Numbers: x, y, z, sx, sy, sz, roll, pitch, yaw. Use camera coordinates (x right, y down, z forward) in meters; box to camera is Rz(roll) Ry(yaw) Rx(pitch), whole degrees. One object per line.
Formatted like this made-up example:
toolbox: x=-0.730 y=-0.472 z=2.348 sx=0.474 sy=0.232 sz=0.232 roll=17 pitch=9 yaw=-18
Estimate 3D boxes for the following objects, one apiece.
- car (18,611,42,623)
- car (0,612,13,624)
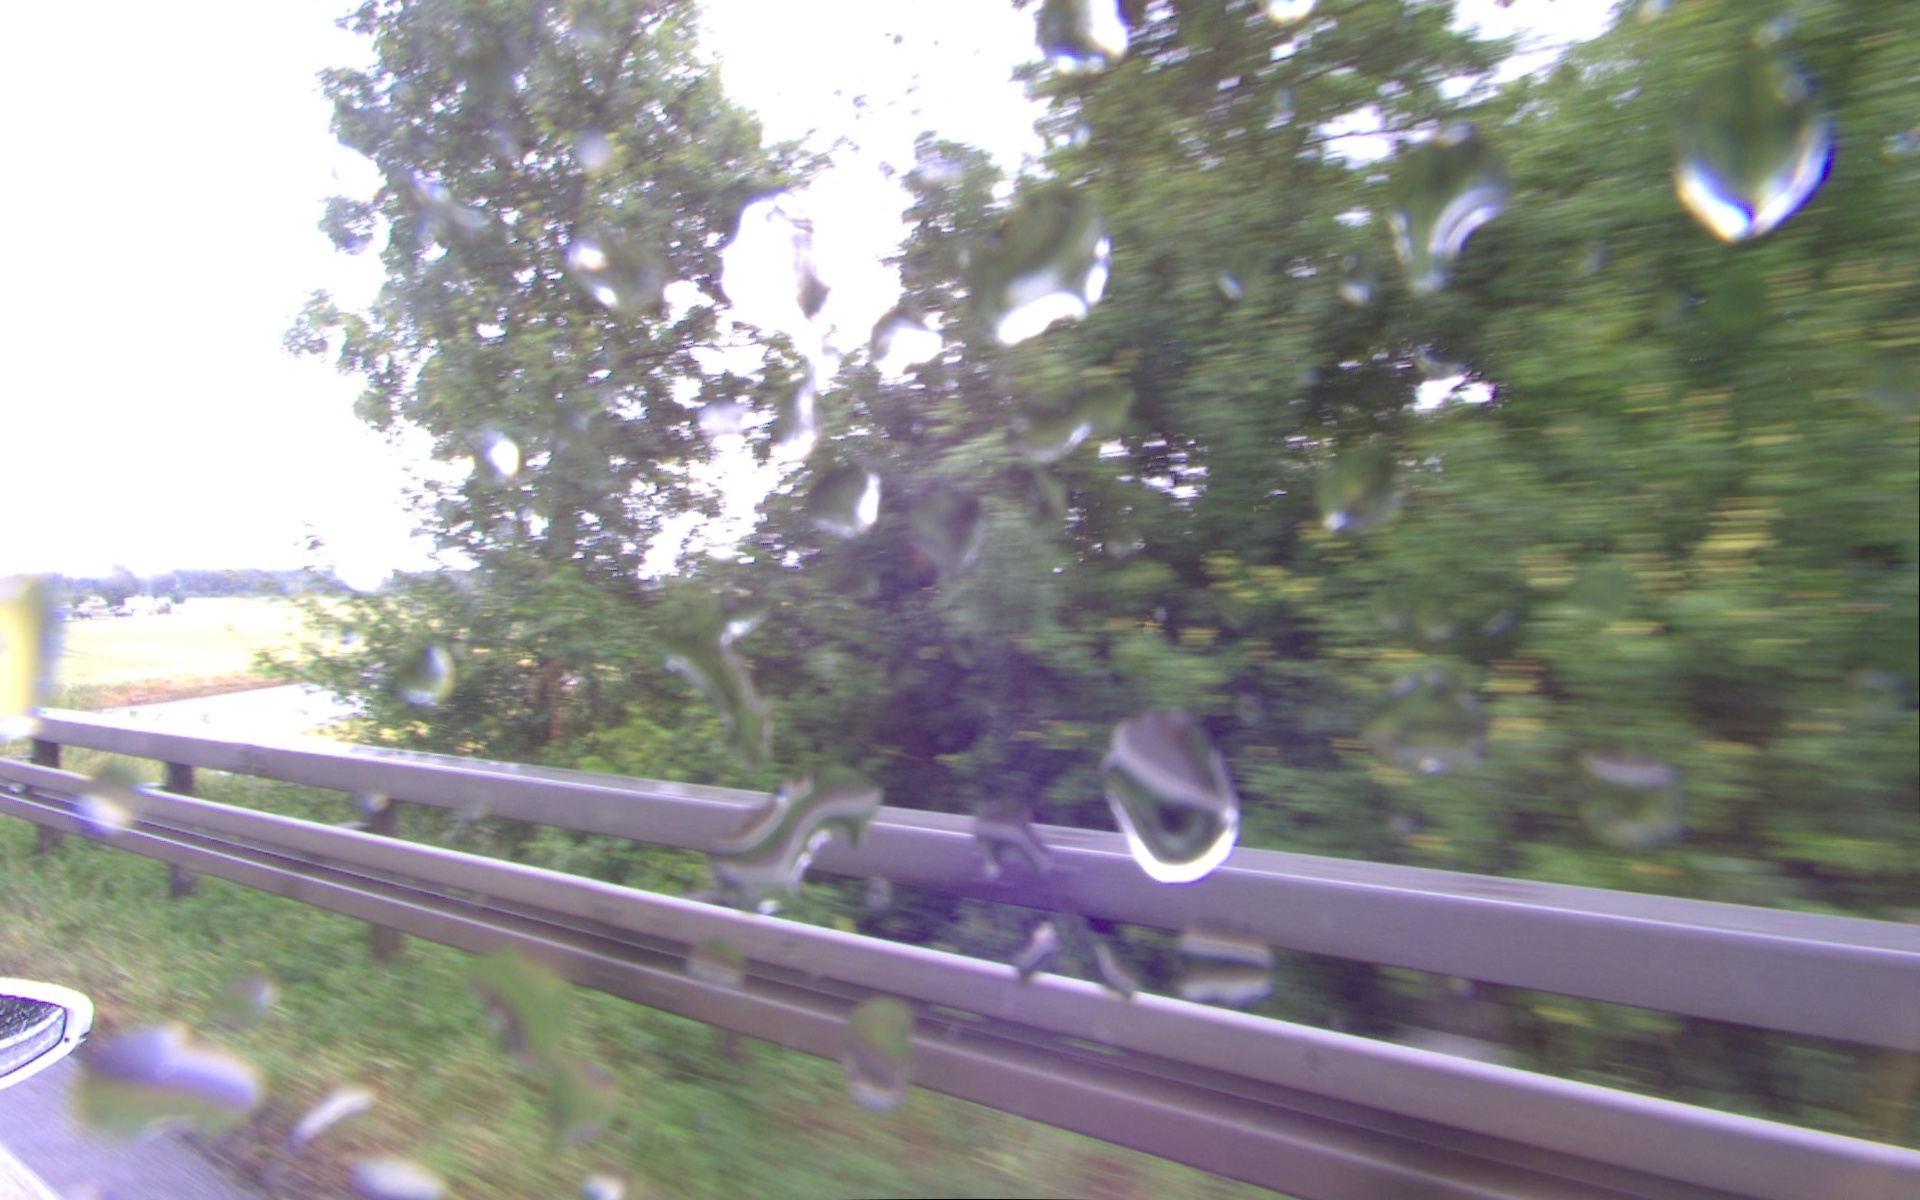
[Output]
car: x=-164.857 y=3.017 z=177.466 sx=1.969 sy=2.039 sz=3.985 roll=0 pitch=-2 yaw=-26
car: x=-162.014 y=3.032 z=169.359 sx=1.798 sy=1.861 sz=3.970 roll=0 pitch=-2 yaw=-29
